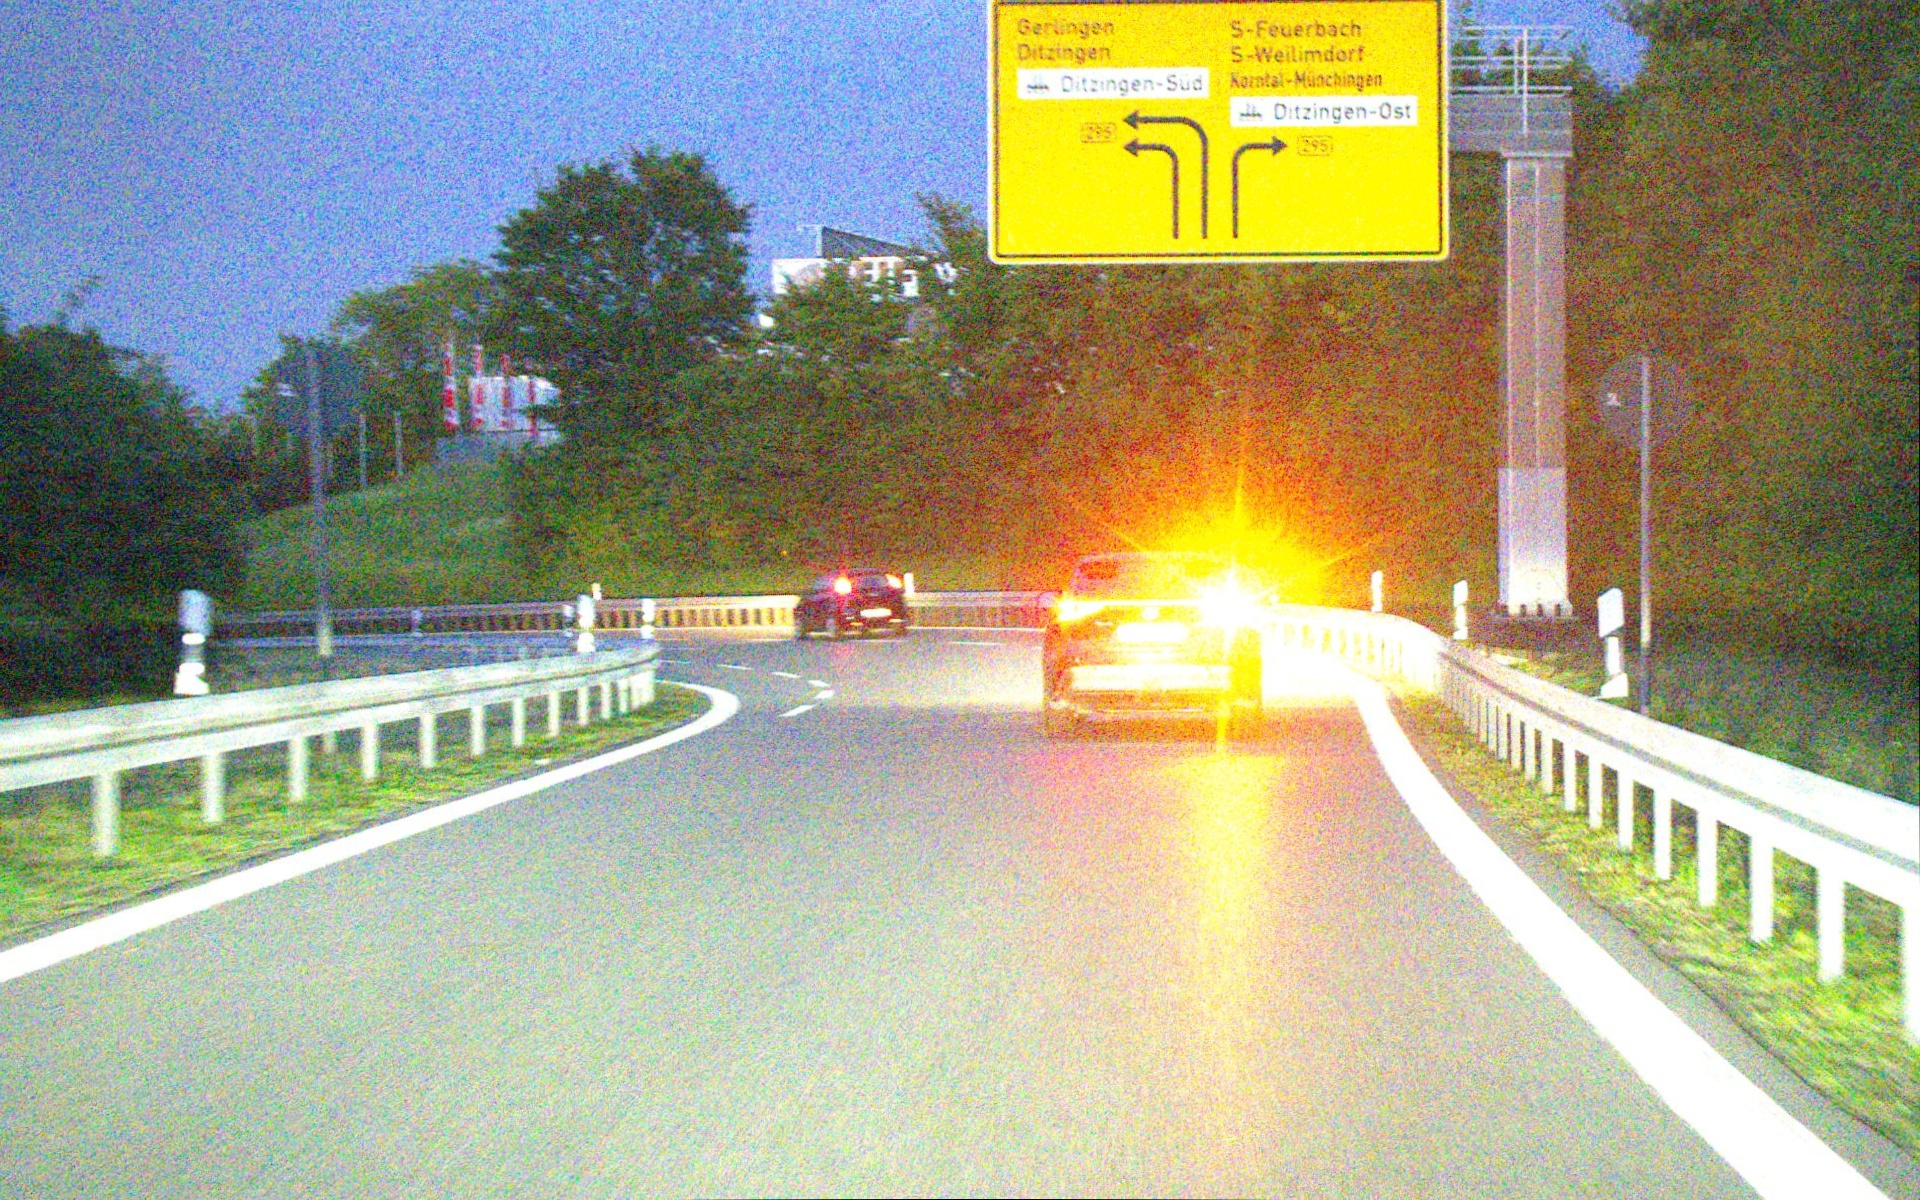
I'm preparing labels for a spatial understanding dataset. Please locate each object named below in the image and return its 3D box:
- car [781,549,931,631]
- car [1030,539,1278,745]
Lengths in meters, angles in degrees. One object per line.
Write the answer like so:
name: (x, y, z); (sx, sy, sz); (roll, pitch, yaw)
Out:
car: (-2.274, -0.232, 73.957); (1.993, 1.593, 4.001); (2, 1, -20)
car: (1.776, 0.307, 30.204); (1.994, 1.653, 4.314); (-1, 1, 5)
